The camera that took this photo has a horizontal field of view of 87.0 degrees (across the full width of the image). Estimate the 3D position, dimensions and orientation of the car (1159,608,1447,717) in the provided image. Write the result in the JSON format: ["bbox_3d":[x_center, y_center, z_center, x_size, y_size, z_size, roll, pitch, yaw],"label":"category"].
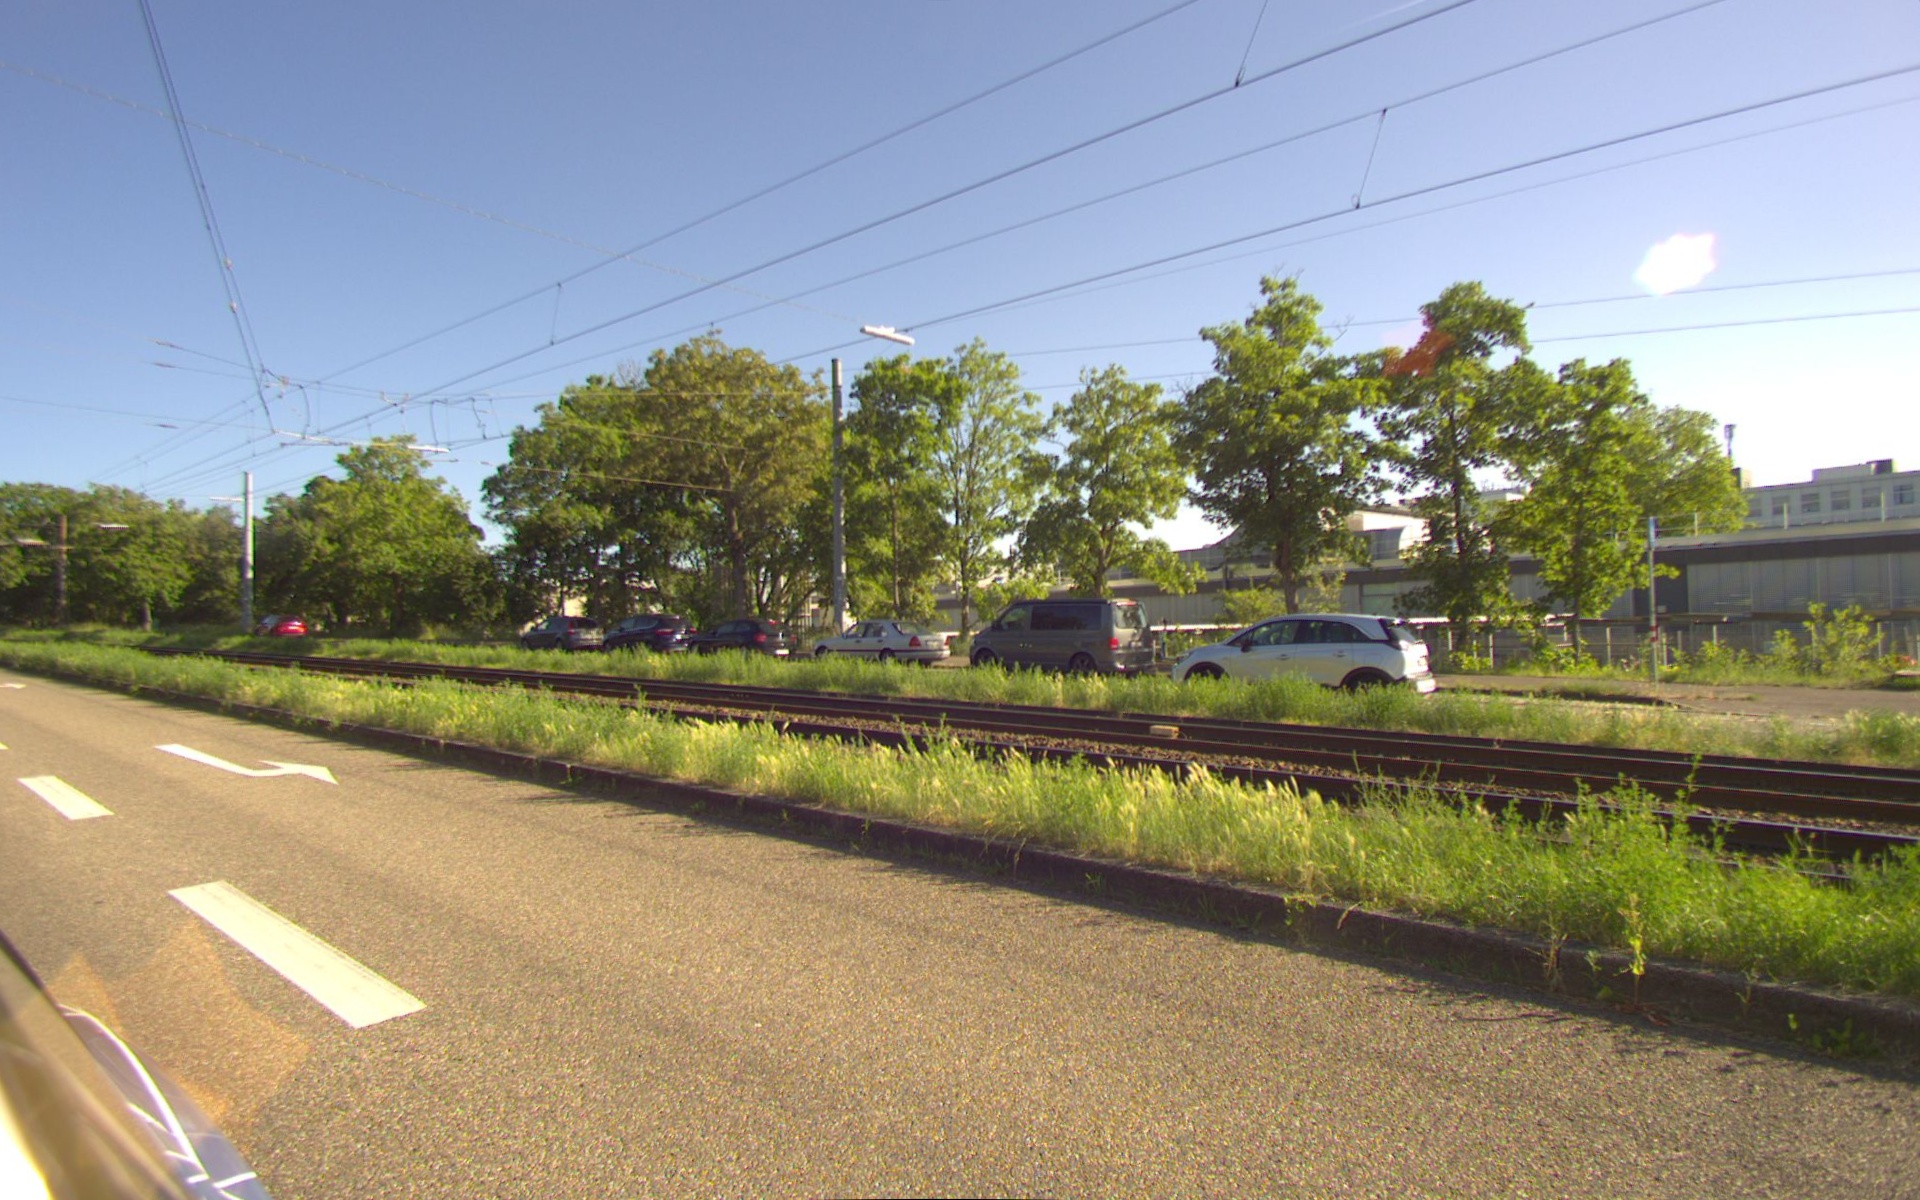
[{"bbox_3d":[5.599,0.968,16.737,4.149,1.569,1.838,-2,-1,37],"label":"car"}]

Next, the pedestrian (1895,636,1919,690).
[{"bbox_3d":[23.525,1.537,24.979,0.435,1.310,0.441,-1,-2,-1],"label":"pedestrian"}]

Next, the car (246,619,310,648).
[{"bbox_3d":[-42.462,2.084,62.986,4.797,1.746,2.290,-2,-1,43],"label":"car"}]

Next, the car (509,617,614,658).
[{"bbox_3d":[-16.267,1.523,41.260,4.557,1.575,2.103,-2,-1,41],"label":"car"}]

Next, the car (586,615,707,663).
[{"bbox_3d":[-11.437,1.392,36.784,4.614,1.599,2.102,-2,-1,41],"label":"car"}]

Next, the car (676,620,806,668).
[{"bbox_3d":[-7.242,1.425,33.232,4.486,1.437,1.935,-2,-1,42],"label":"car"}]

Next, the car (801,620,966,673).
[{"bbox_3d":[-2.265,1.312,29.225,4.612,1.391,2.103,-2,-1,40],"label":"car"}]

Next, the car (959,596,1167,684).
[{"bbox_3d":[2.444,0.936,24.807,4.684,1.949,2.178,-2,-1,42],"label":"car"}]
